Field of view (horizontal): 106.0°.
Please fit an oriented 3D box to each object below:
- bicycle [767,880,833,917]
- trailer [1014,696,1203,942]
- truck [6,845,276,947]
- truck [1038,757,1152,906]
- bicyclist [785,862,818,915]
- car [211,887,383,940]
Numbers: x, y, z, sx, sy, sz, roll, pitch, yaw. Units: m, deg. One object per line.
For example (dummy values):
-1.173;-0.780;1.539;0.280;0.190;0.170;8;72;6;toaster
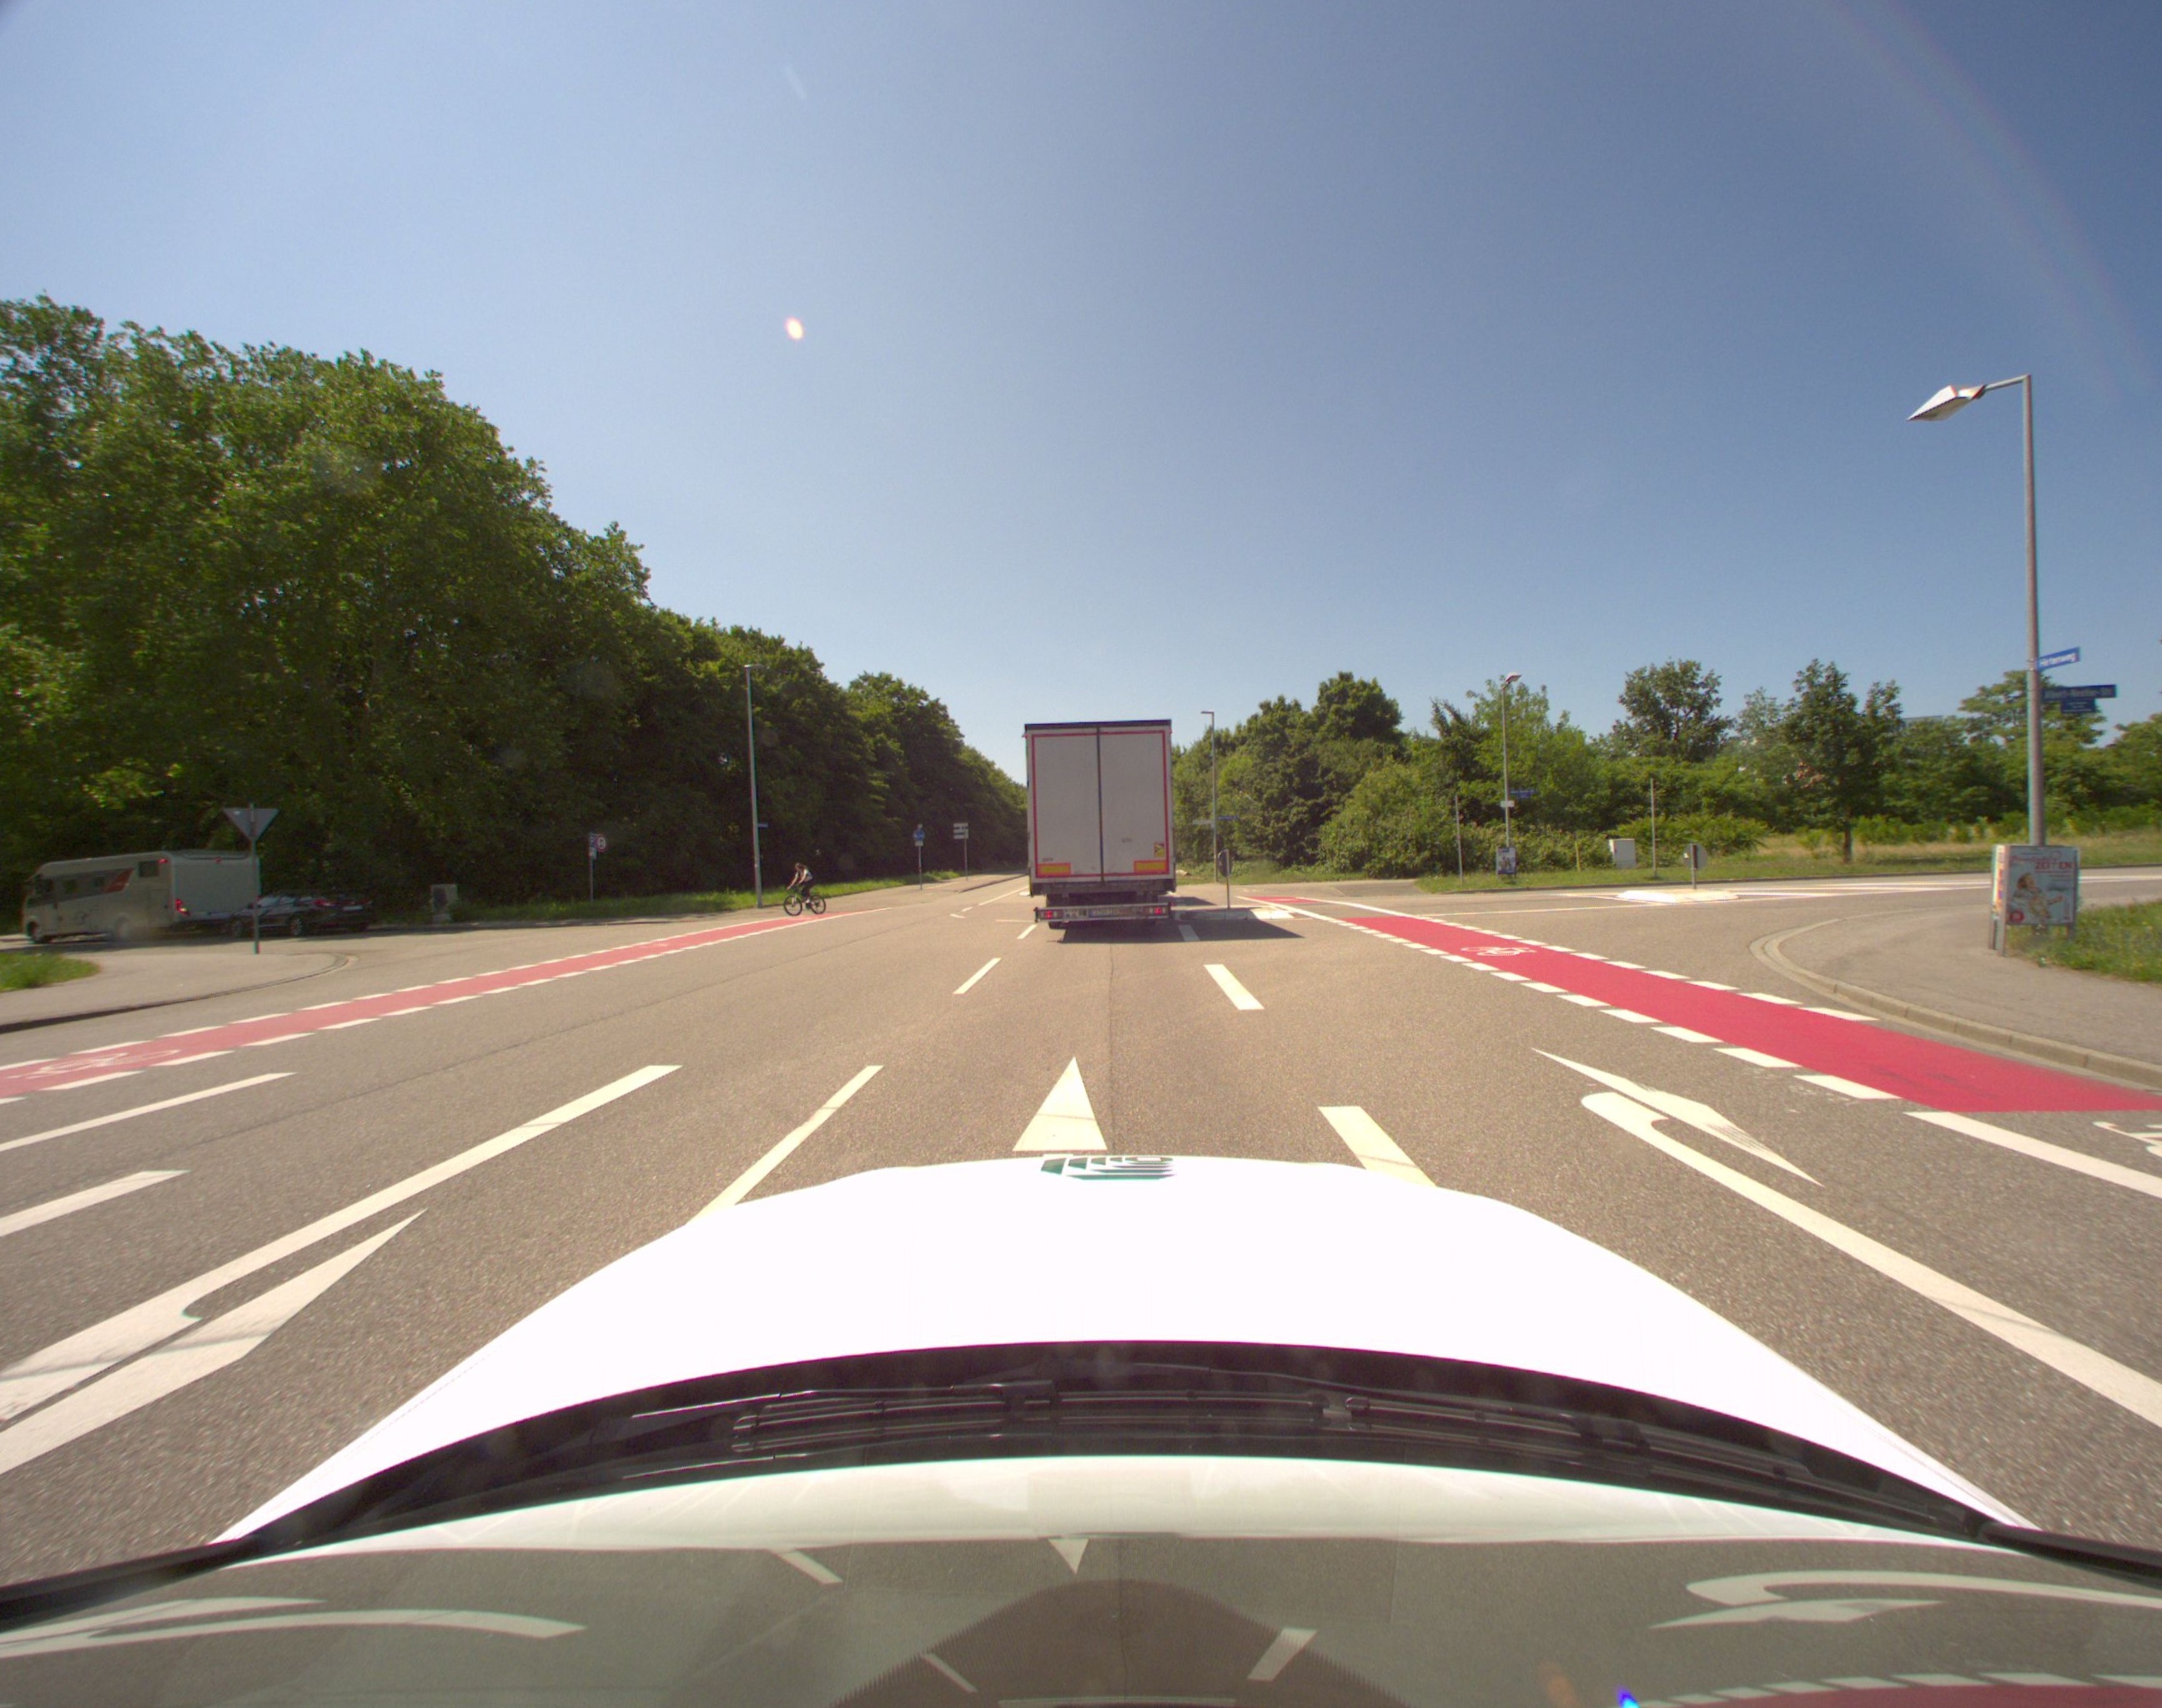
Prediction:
-9.204;1.434;26.747;0.662;1.055;2.058;-1;0;35;bicycle
0.411;-0.596;18.565;3.068;4.069;9.805;-1;0;-1;trailer
-31.257;1.383;27.152;7.269;2.910;2.576;-3;-1;12;truck
0.340;-0.624;26.537;3.068;4.069;7.956;-1;0;-1;truck
-9.190;1.113;26.766;0.658;1.706;0.774;-1;0;35;bicyclist
-24.514;1.852;25.505;4.272;1.417;1.671;-3;-2;10;car
